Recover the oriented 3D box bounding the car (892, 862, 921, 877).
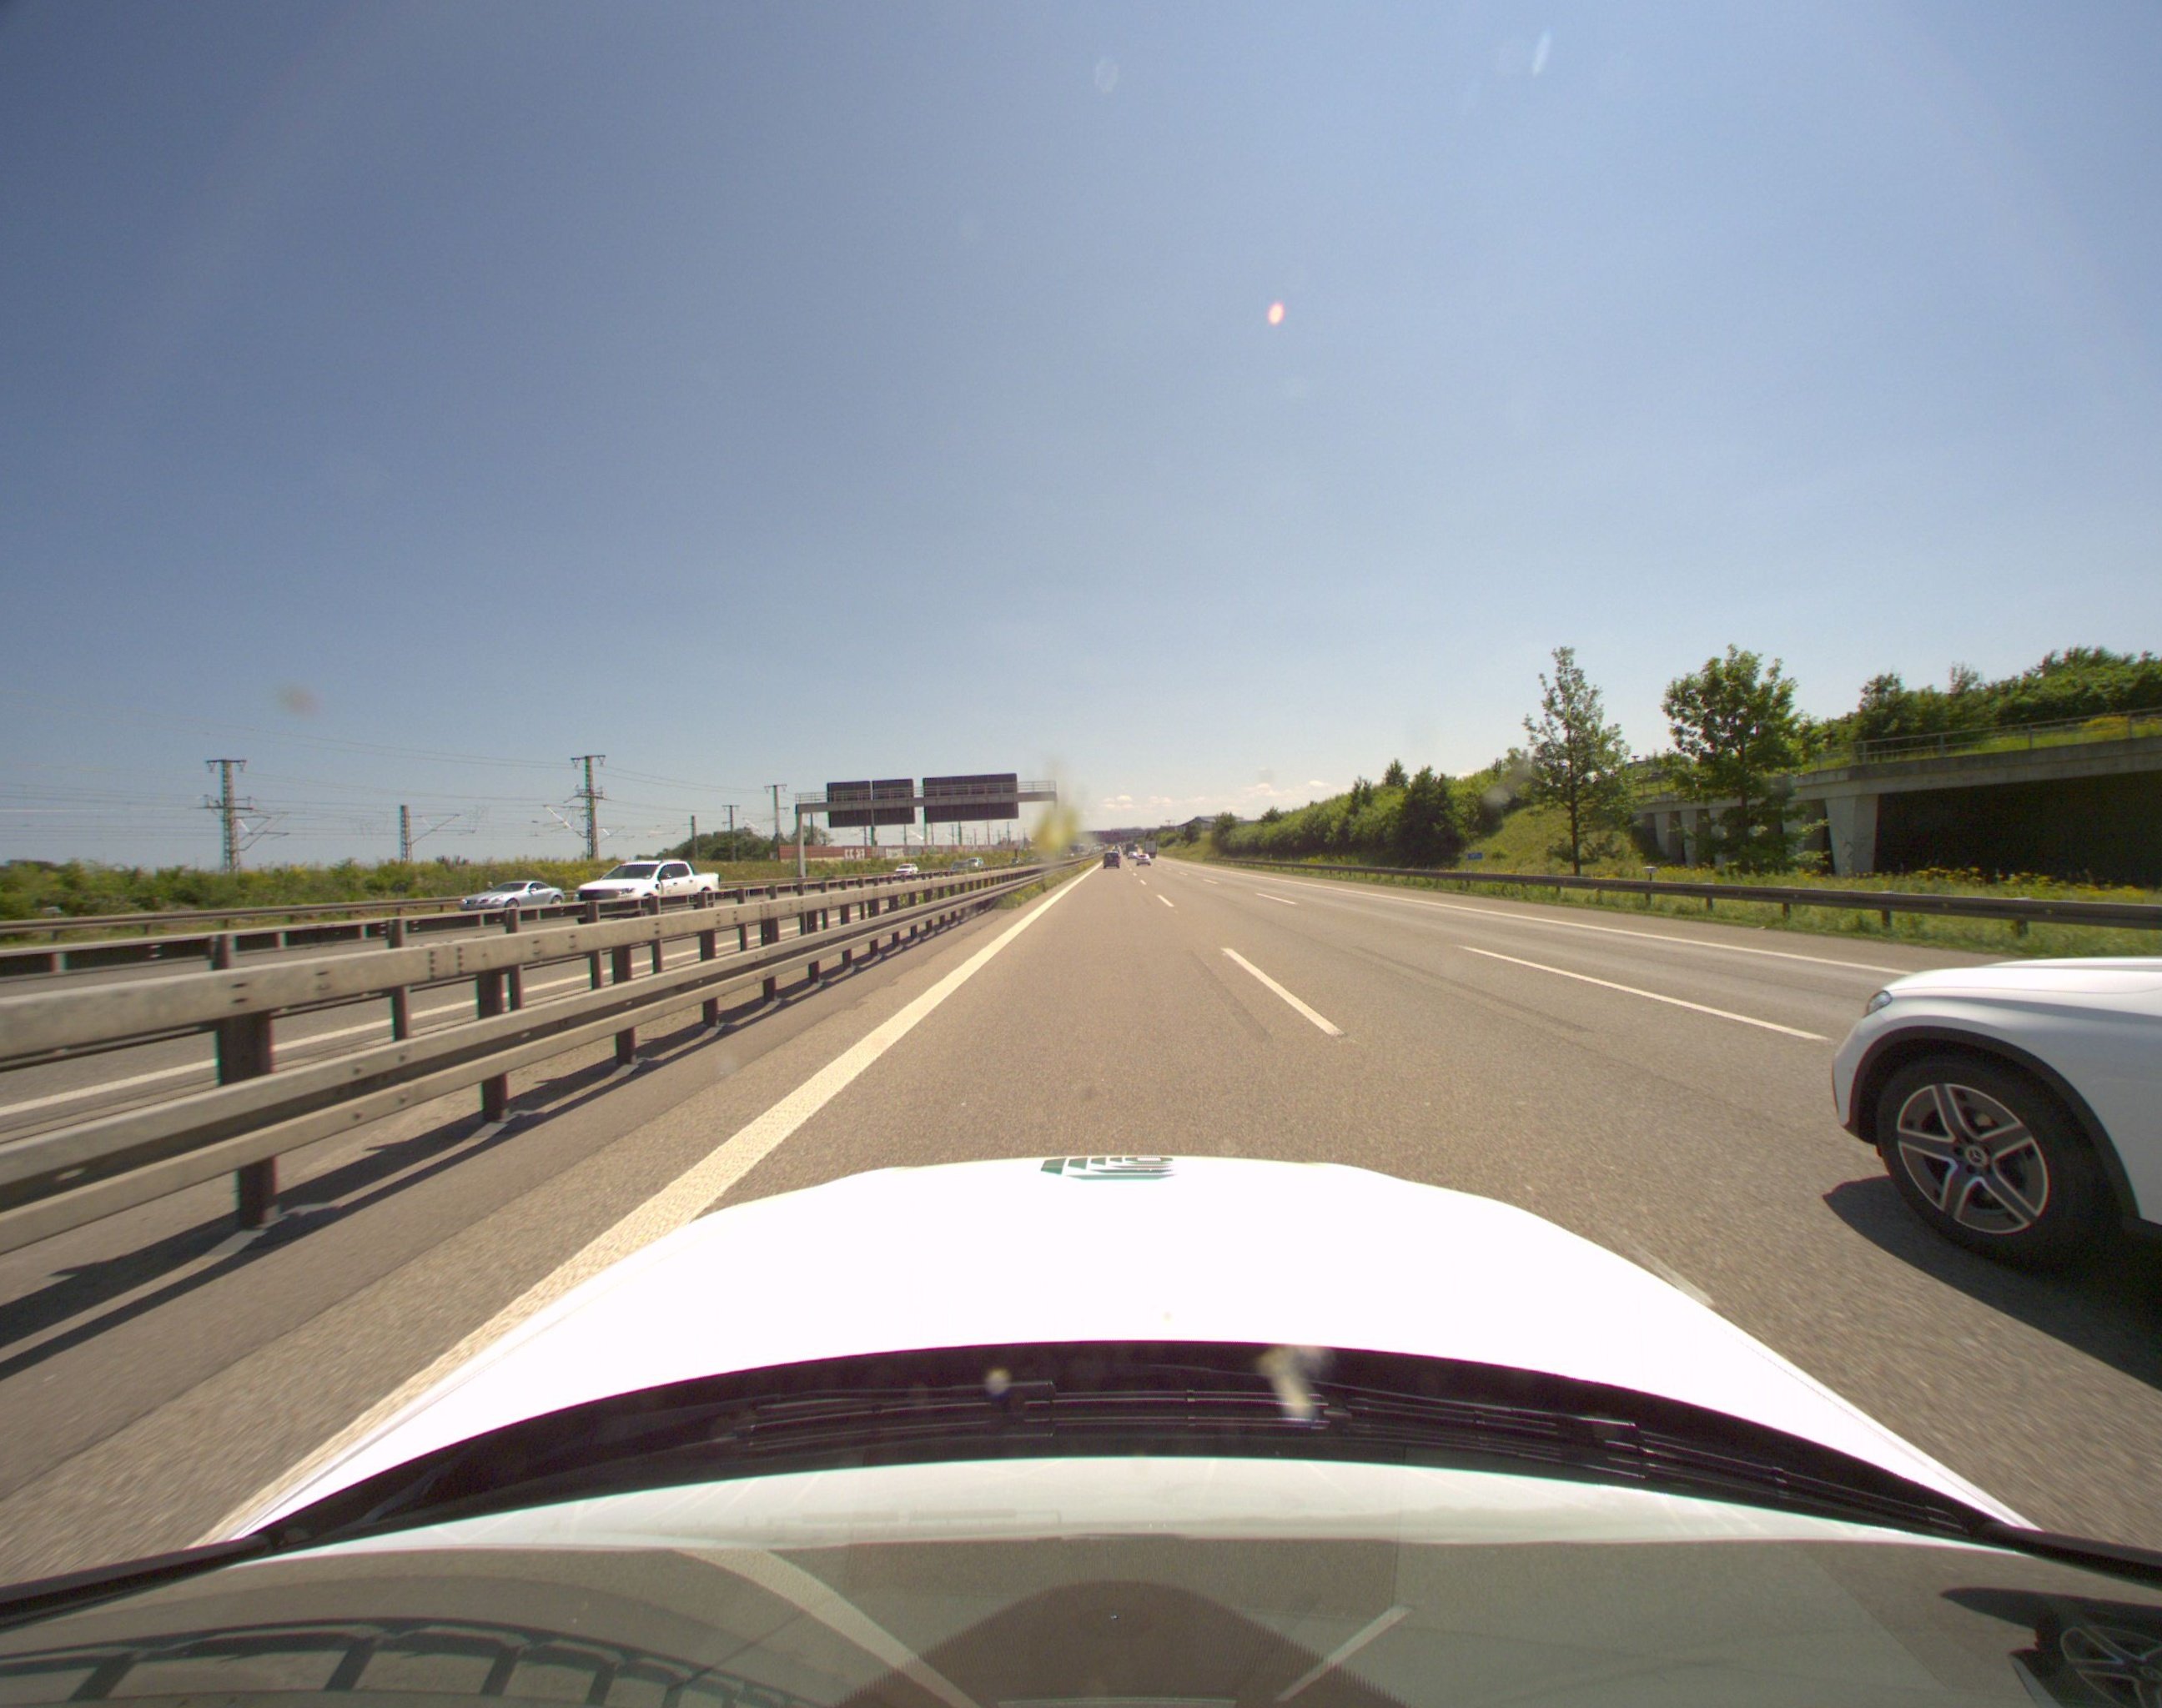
[{"bbox_3d":[-19.103,1.671,89.330,1.985,1.576,4.480,-1,0,3],"label":"car"}]

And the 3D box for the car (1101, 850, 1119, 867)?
[{"bbox_3d":[3.259,0.518,89.737,1.873,1.775,4.003,-2,0,3],"label":"car"}]

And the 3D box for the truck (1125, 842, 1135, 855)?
[{"bbox_3d":[12.862,-1.408,213.507,2.346,3.416,6.062,-2,0,3],"label":"truck"}]

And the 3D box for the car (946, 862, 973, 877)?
[{"bbox_3d":[-13.461,1.728,90.495,1.985,1.576,4.480,-1,0,3],"label":"car"}]

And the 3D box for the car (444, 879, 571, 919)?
[{"bbox_3d":[-22.524,1.732,32.206,1.986,1.311,4.164,-1,0,1],"label":"car"}]

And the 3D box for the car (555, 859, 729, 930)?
[{"bbox_3d":[-12.827,1.096,24.347,1.986,1.831,5.601,-1,0,1],"label":"car"}]

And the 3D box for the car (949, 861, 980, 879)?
[{"bbox_3d":[-10.335,1.434,72.437,1.922,1.483,4.478,-1,0,1],"label":"car"}]

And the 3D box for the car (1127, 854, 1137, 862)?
[{"bbox_3d":[10.549,0.756,168.236,1.873,1.526,4.004,-1,0,3],"label":"car"}]

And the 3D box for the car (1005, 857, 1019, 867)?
[{"bbox_3d":[-13.748,1.591,162.350,1.985,1.726,4.517,-1,0,3],"label":"car"}]

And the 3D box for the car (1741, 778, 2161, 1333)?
[{"bbox_3d":[4.145,0.588,1.670,1.898,1.656,4.637,-1,0,1],"label":"car"}]

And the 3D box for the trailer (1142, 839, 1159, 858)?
[{"bbox_3d":[15.594,-1.316,182.920,3.164,4.059,9.446,-3,0,3],"label":"trailer"}]

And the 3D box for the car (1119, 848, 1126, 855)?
[{"bbox_3d":[12.529,-0.763,244.602,1.986,2.013,4.002,-1,0,2],"label":"car"}]

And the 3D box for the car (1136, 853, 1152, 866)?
[{"bbox_3d":[8.011,0.710,102.991,1.871,1.526,4.006,-1,0,5],"label":"car"}]

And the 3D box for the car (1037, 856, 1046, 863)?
[{"bbox_3d":[-10.607,1.501,216.925,1.985,1.726,4.516,-1,0,3],"label":"car"}]
